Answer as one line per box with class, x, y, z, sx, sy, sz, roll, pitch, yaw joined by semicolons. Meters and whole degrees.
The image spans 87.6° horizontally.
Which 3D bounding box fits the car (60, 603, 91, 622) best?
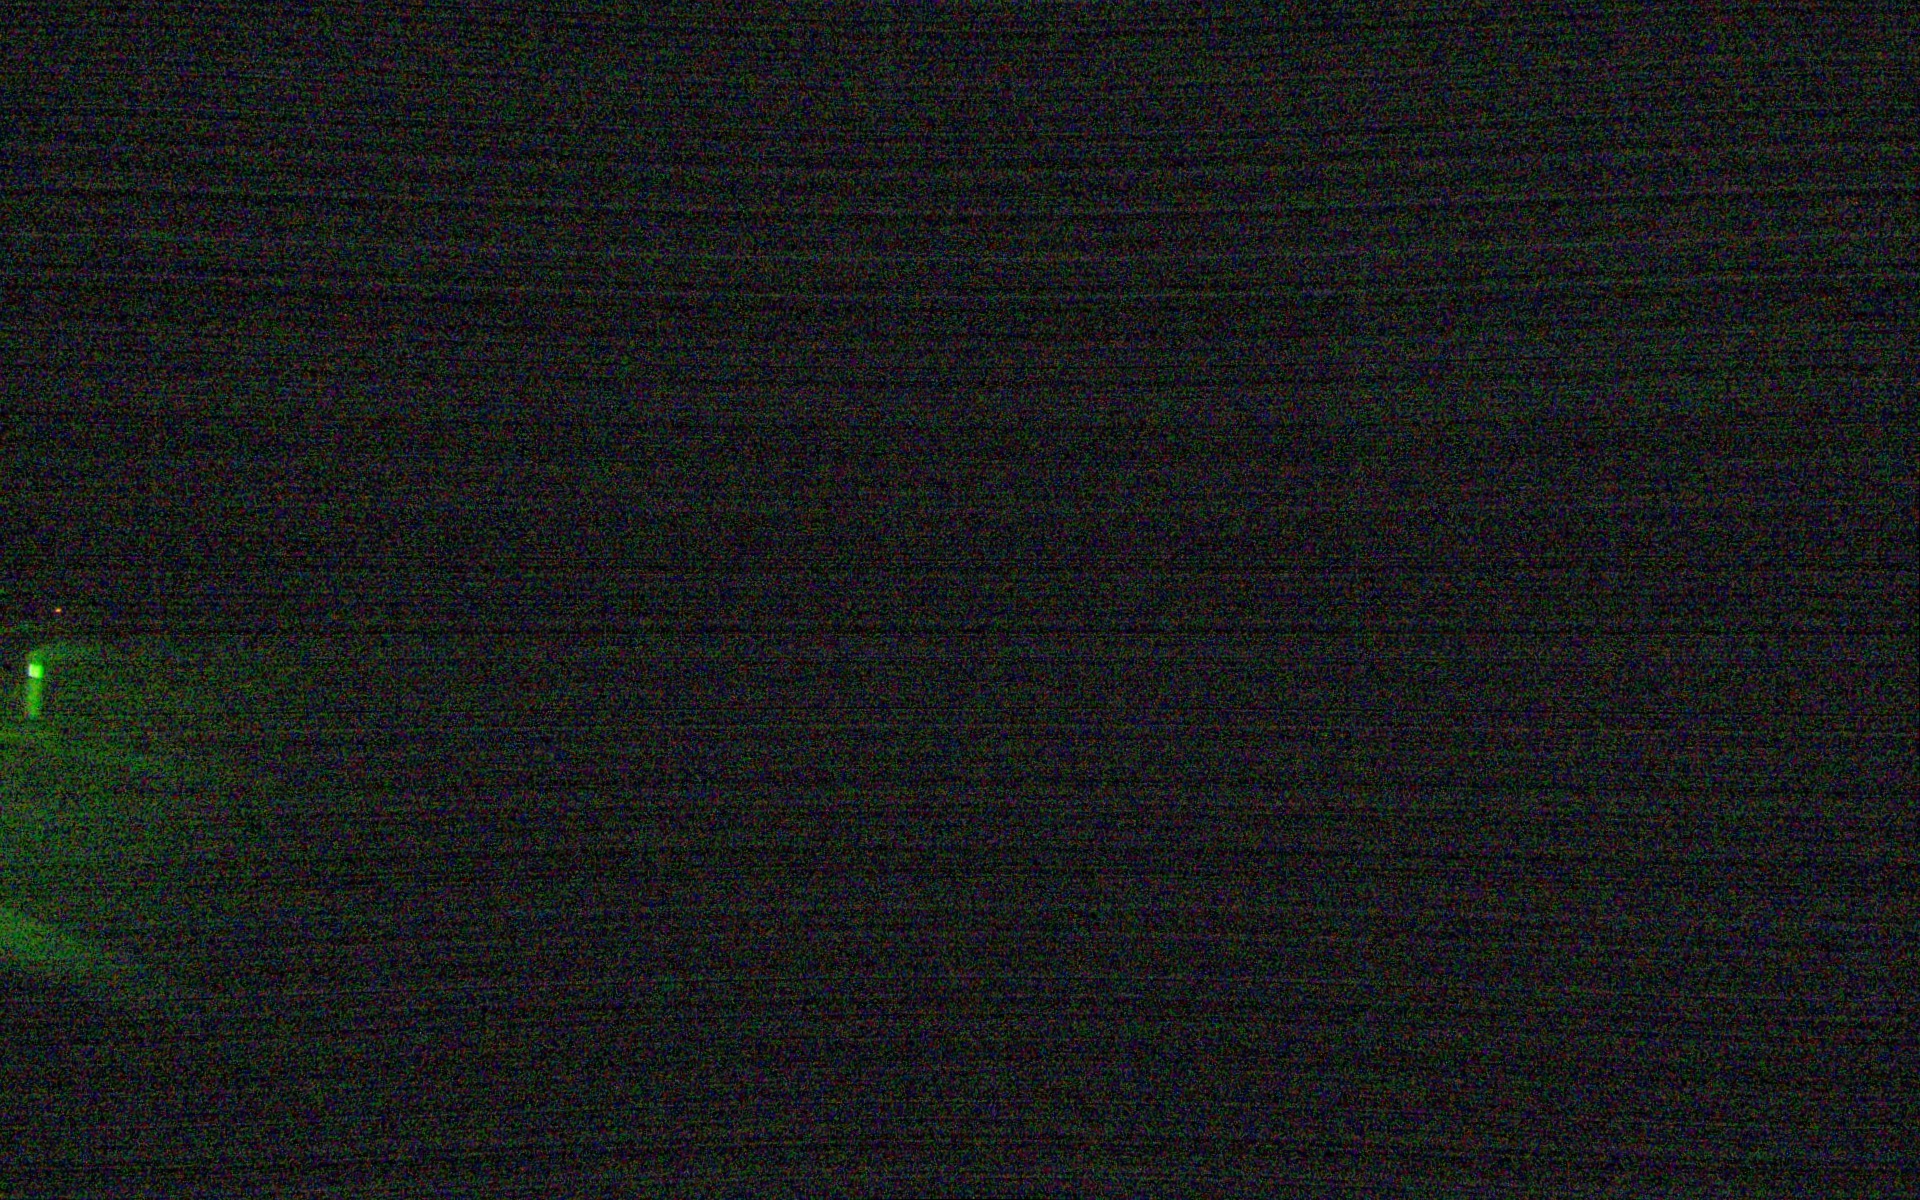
car;-83.813;1.167;94.876;1.718;1.638;3.772;3;-2;-35
